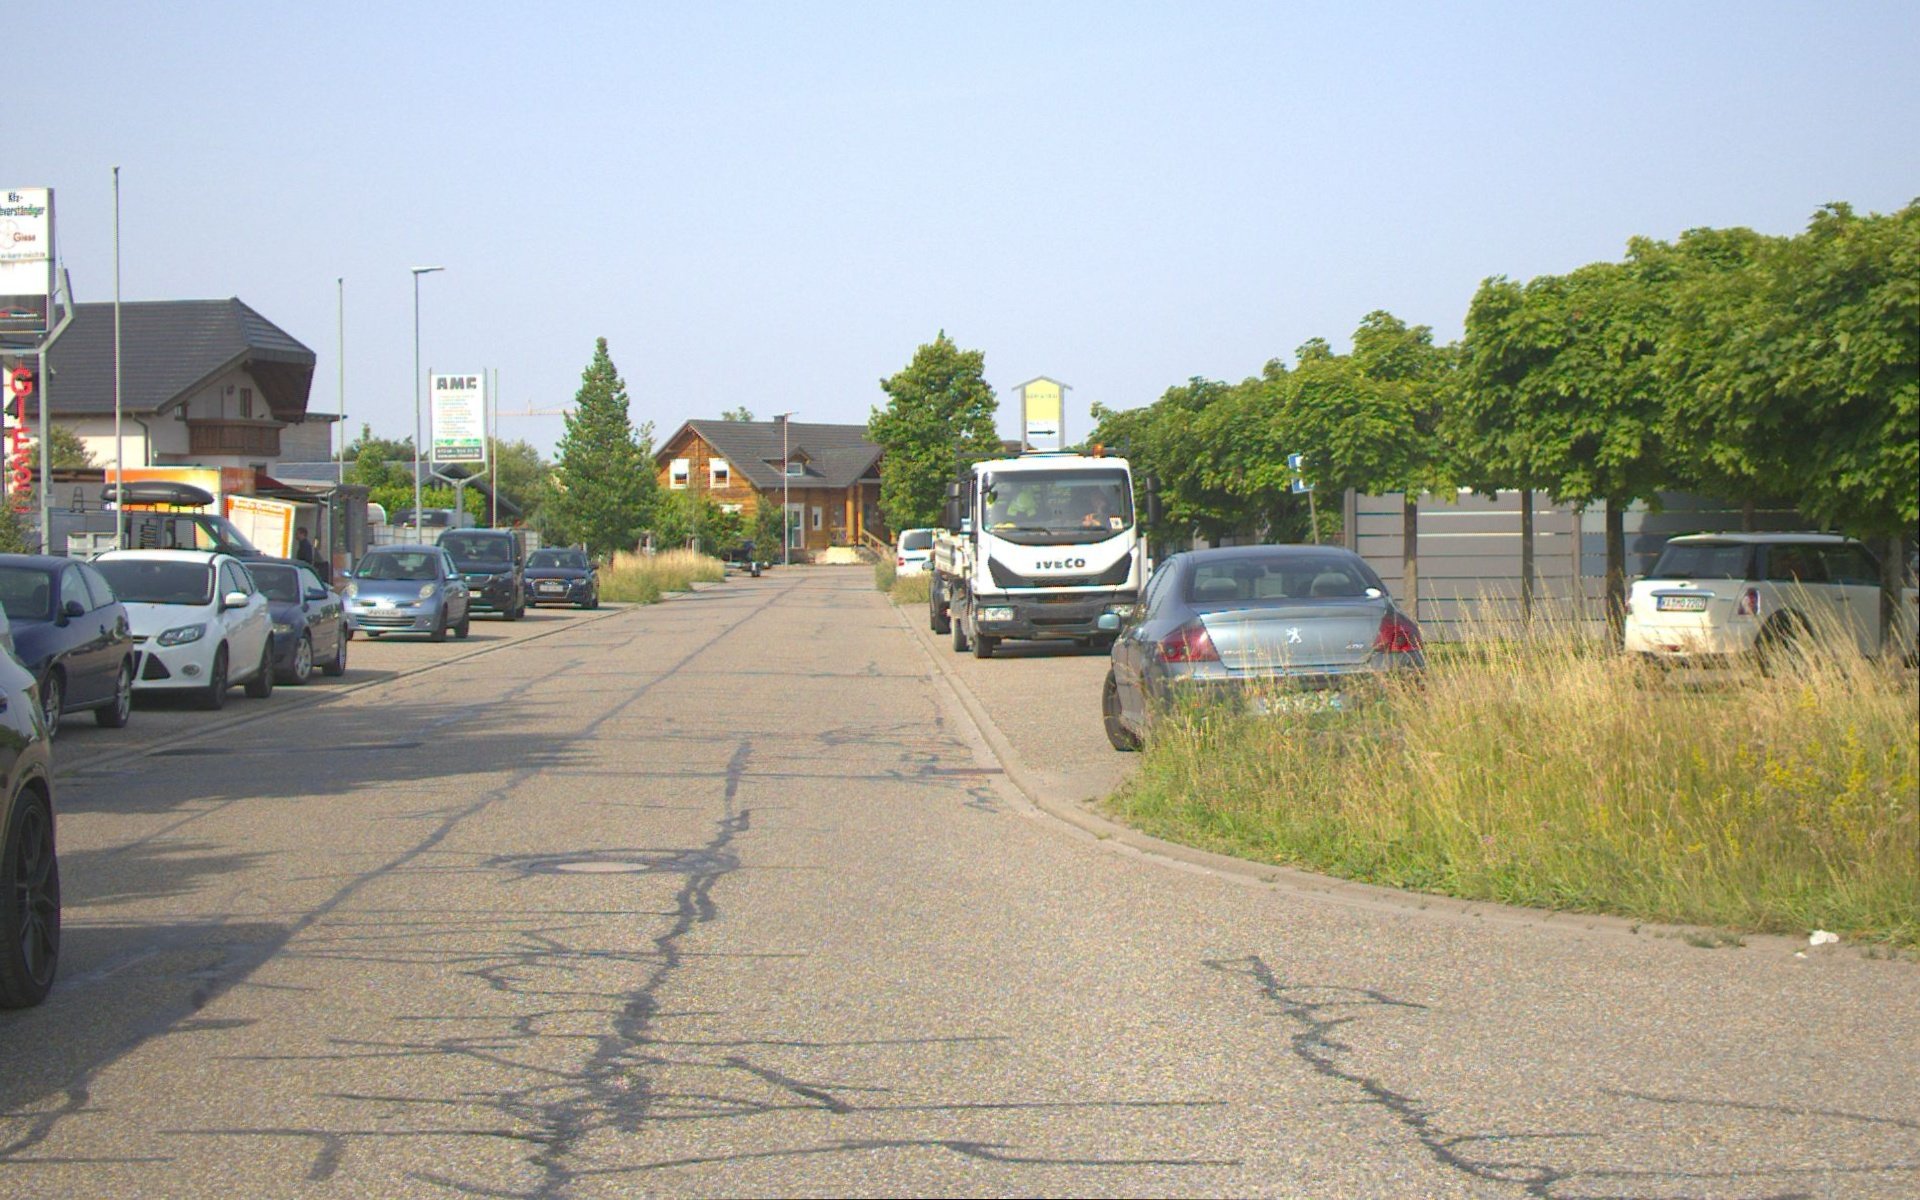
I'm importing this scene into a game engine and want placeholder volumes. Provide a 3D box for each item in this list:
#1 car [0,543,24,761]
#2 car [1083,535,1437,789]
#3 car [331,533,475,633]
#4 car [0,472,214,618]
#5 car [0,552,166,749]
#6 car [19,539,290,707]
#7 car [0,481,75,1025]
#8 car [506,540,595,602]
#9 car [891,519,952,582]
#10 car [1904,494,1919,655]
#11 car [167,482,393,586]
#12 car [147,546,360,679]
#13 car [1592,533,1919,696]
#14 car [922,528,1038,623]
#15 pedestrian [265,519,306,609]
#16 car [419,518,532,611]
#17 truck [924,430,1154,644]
[{"bbox_3d":[-7.548,0.367,22.844,1.566,1.533,3.688,1,1,1],"label":"car"},{"bbox_3d":[1.883,0.337,22.846,1.794,1.512,4.424,0,1,-2],"label":"car"},{"bbox_3d":[-8.827,-0.290,54.740,1.633,1.512,3.605,1,1,1],"label":"car"},{"bbox_3d":[-15.174,-0.929,58.171,4.627,2.408,2.000,0,1,1],"label":"car"},{"bbox_3d":[-7.665,0.348,27.725,1.578,1.438,3.963,1,1,0],"label":"car"},{"bbox_3d":[-7.641,0.174,32.965,1.683,1.464,4.254,1,1,-2],"label":"car"},{"bbox_3d":[-3.922,0.526,9.713,1.856,1.709,4.227,-2,1,-2],"label":"car"},{"bbox_3d":[-9.700,-0.705,81.698,1.799,1.382,3.638,2,1,-2],"label":"car"},{"bbox_3d":[-1.226,-1.564,108.456,1.837,1.917,3.756,-1,1,-1],"label":"car"},{"bbox_3d":[11.497,-0.225,34.919,1.686,1.583,4.522,2,1,44],"label":"car"},{"bbox_3d":[-17.724,-1.715,89.663,5.162,2.577,2.574,-1,1,19],"label":"car"},{"bbox_3d":[-7.987,0.099,39.186,1.633,1.382,4.370,1,1,-2],"label":"car"},{"bbox_3d":[7.640,0.092,31.547,3.687,1.375,1.687,-2,2,-41],"label":"car"},{"bbox_3d":[0.309,-0.439,58.603,1.794,1.555,4.001,0,1,-2],"label":"car"},{"bbox_3d":[-12.890,-0.690,65.747,0.562,1.709,0.534,-1,1,-39],"label":"pedestrian"},{"bbox_3d":[-9.704,-0.738,69.090,1.799,1.768,4.203,2,1,-2],"label":"car"},{"bbox_3d":[0.960,-0.862,46.502,2.359,2.672,6.512,-1,1,-5],"label":"truck"}]
